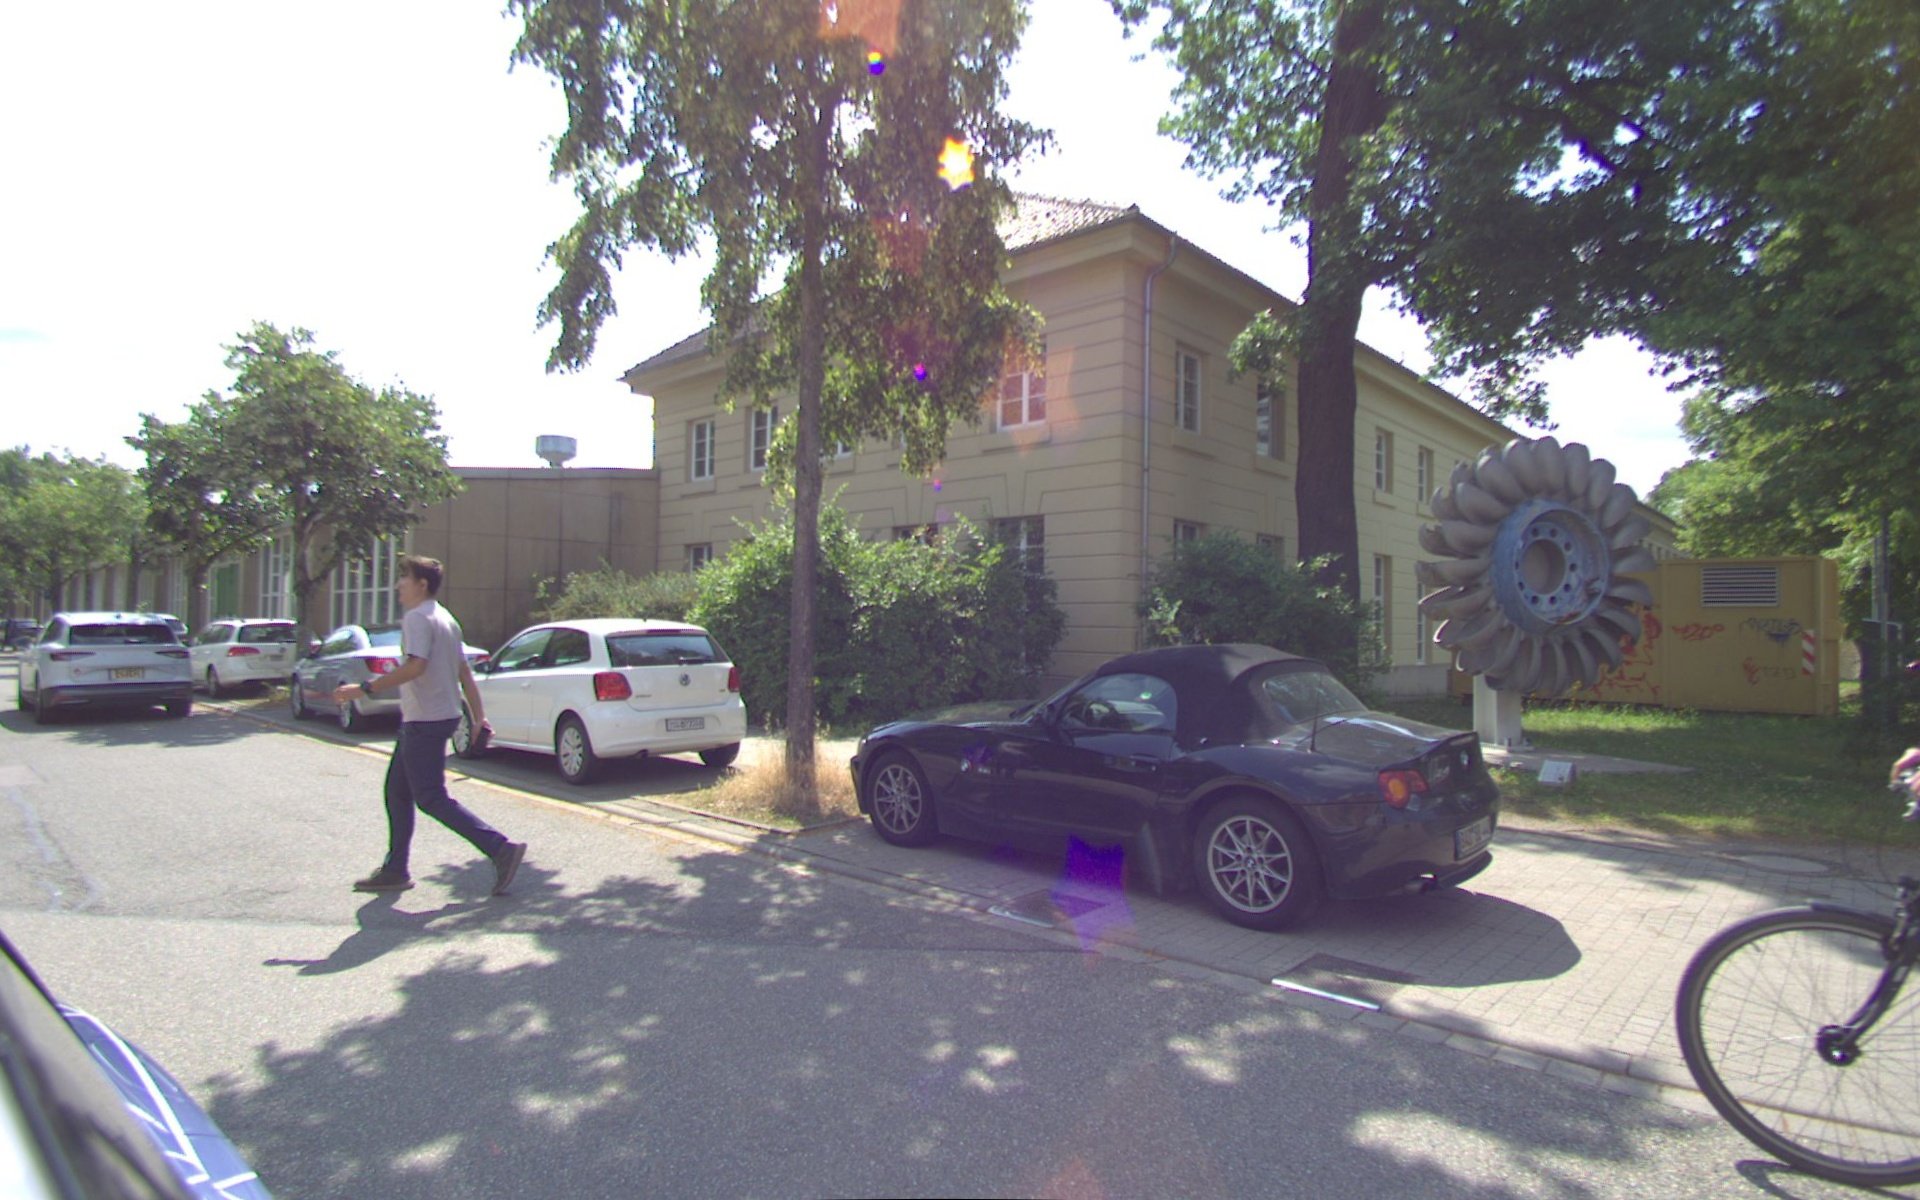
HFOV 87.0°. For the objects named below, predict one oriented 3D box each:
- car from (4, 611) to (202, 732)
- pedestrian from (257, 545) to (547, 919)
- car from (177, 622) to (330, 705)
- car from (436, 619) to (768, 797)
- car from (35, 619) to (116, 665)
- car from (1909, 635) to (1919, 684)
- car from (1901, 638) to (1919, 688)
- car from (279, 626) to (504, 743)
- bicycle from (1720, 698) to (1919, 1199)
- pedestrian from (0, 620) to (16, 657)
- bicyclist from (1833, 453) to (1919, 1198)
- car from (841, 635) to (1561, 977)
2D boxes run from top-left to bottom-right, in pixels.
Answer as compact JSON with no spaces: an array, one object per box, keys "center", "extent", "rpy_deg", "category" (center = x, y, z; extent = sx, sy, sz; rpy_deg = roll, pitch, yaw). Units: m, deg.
[{"center":[-13.587,1.029,15.949],"extent":[4.373,1.646,1.906],"rpy_deg":[-1,-2,44],"category":"car"},{"center":[-2.928,0.658,5.469],"extent":[1.077,1.800,0.985],"rpy_deg":[1,-3,-11],"category":"pedestrian"},{"center":[-13.851,1.168,19.759],"extent":[4.001,1.444,1.694],"rpy_deg":[-1,-2,44],"category":"car"},{"center":[-3.670,0.927,10.090],"extent":[3.633,1.442,1.613],"rpy_deg":[-1,-2,43],"category":"car"},{"center":[-33.556,1.561,38.364],"extent":[4.373,1.646,1.906],"rpy_deg":[-1,-2,44],"category":"car"},{"center":[35.396,2.113,34.686],"extent":[4.124,1.679,1.787],"rpy_deg":[1,-1,42],"category":"car"},{"center":[31.896,2.031,31.207],"extent":[1.786,1.553,4.128],"rpy_deg":[3,-1,-44],"category":"car"},{"center":[-7.996,1.061,14.079],"extent":[4.001,1.387,1.626],"rpy_deg":[-1,-2,44],"category":"car"},{"center":[2.715,0.834,2.066],"extent":[1.811,1.150,0.618],"rpy_deg":[-1,-3,41],"category":"bicycle"},{"center":[-43.784,1.776,46.442],"extent":[0.528,1.694,0.587],"rpy_deg":[2,-3,-31],"category":"pedestrian"},{"center":[2.700,0.488,2.091],"extent":[1.328,1.618,0.621],"rpy_deg":[-1,-3,41],"category":"bicyclist"},{"center":[1.161,0.880,5.908],"extent":[3.763,1.305,1.677],"rpy_deg":[-1,-3,44],"category":"car"}]
